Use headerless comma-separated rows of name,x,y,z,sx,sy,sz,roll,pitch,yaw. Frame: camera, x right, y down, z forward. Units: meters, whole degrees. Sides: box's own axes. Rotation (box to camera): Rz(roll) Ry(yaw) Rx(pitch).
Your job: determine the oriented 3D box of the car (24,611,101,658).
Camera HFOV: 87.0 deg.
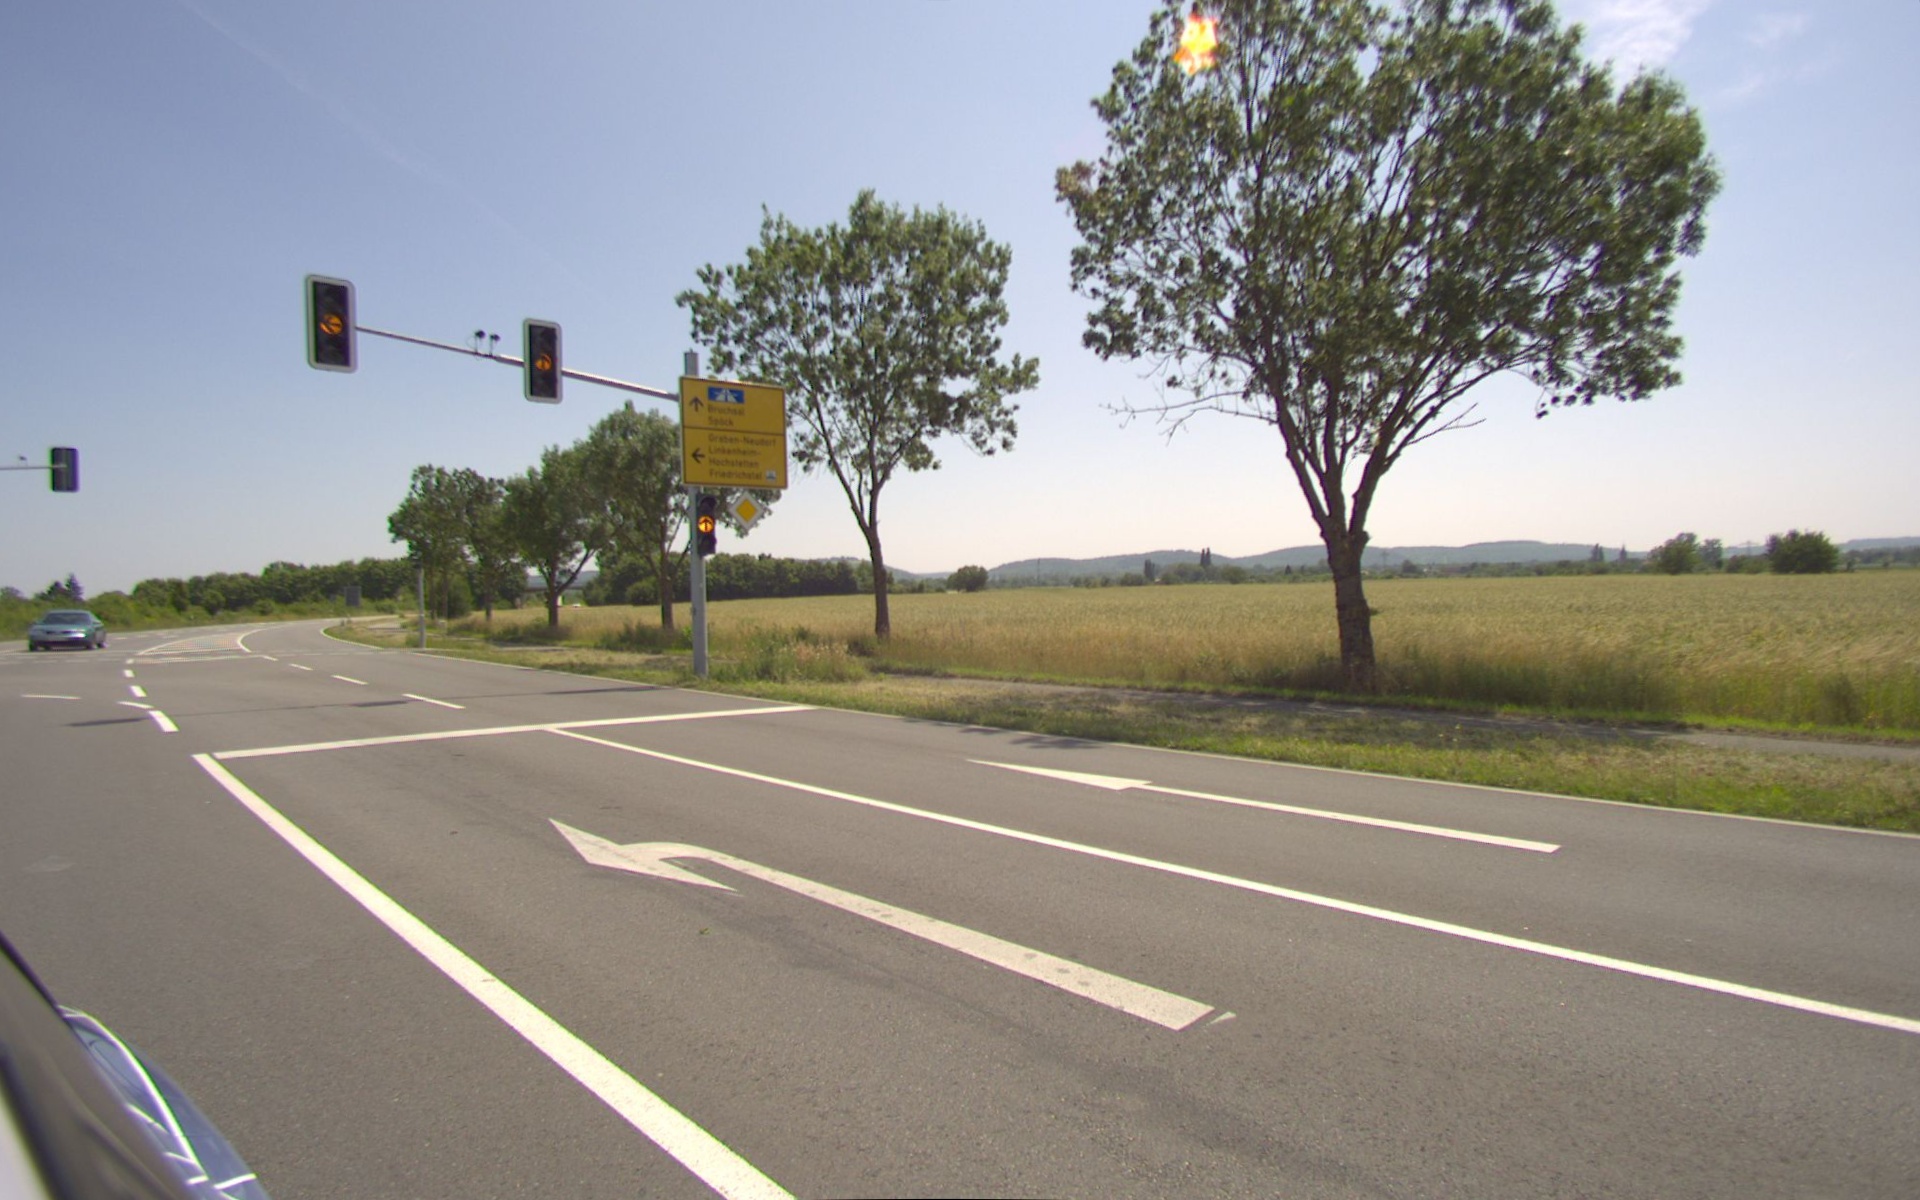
car,-32.323,1.198,36.532,1.631,1.578,4.010,0,-1,-35
